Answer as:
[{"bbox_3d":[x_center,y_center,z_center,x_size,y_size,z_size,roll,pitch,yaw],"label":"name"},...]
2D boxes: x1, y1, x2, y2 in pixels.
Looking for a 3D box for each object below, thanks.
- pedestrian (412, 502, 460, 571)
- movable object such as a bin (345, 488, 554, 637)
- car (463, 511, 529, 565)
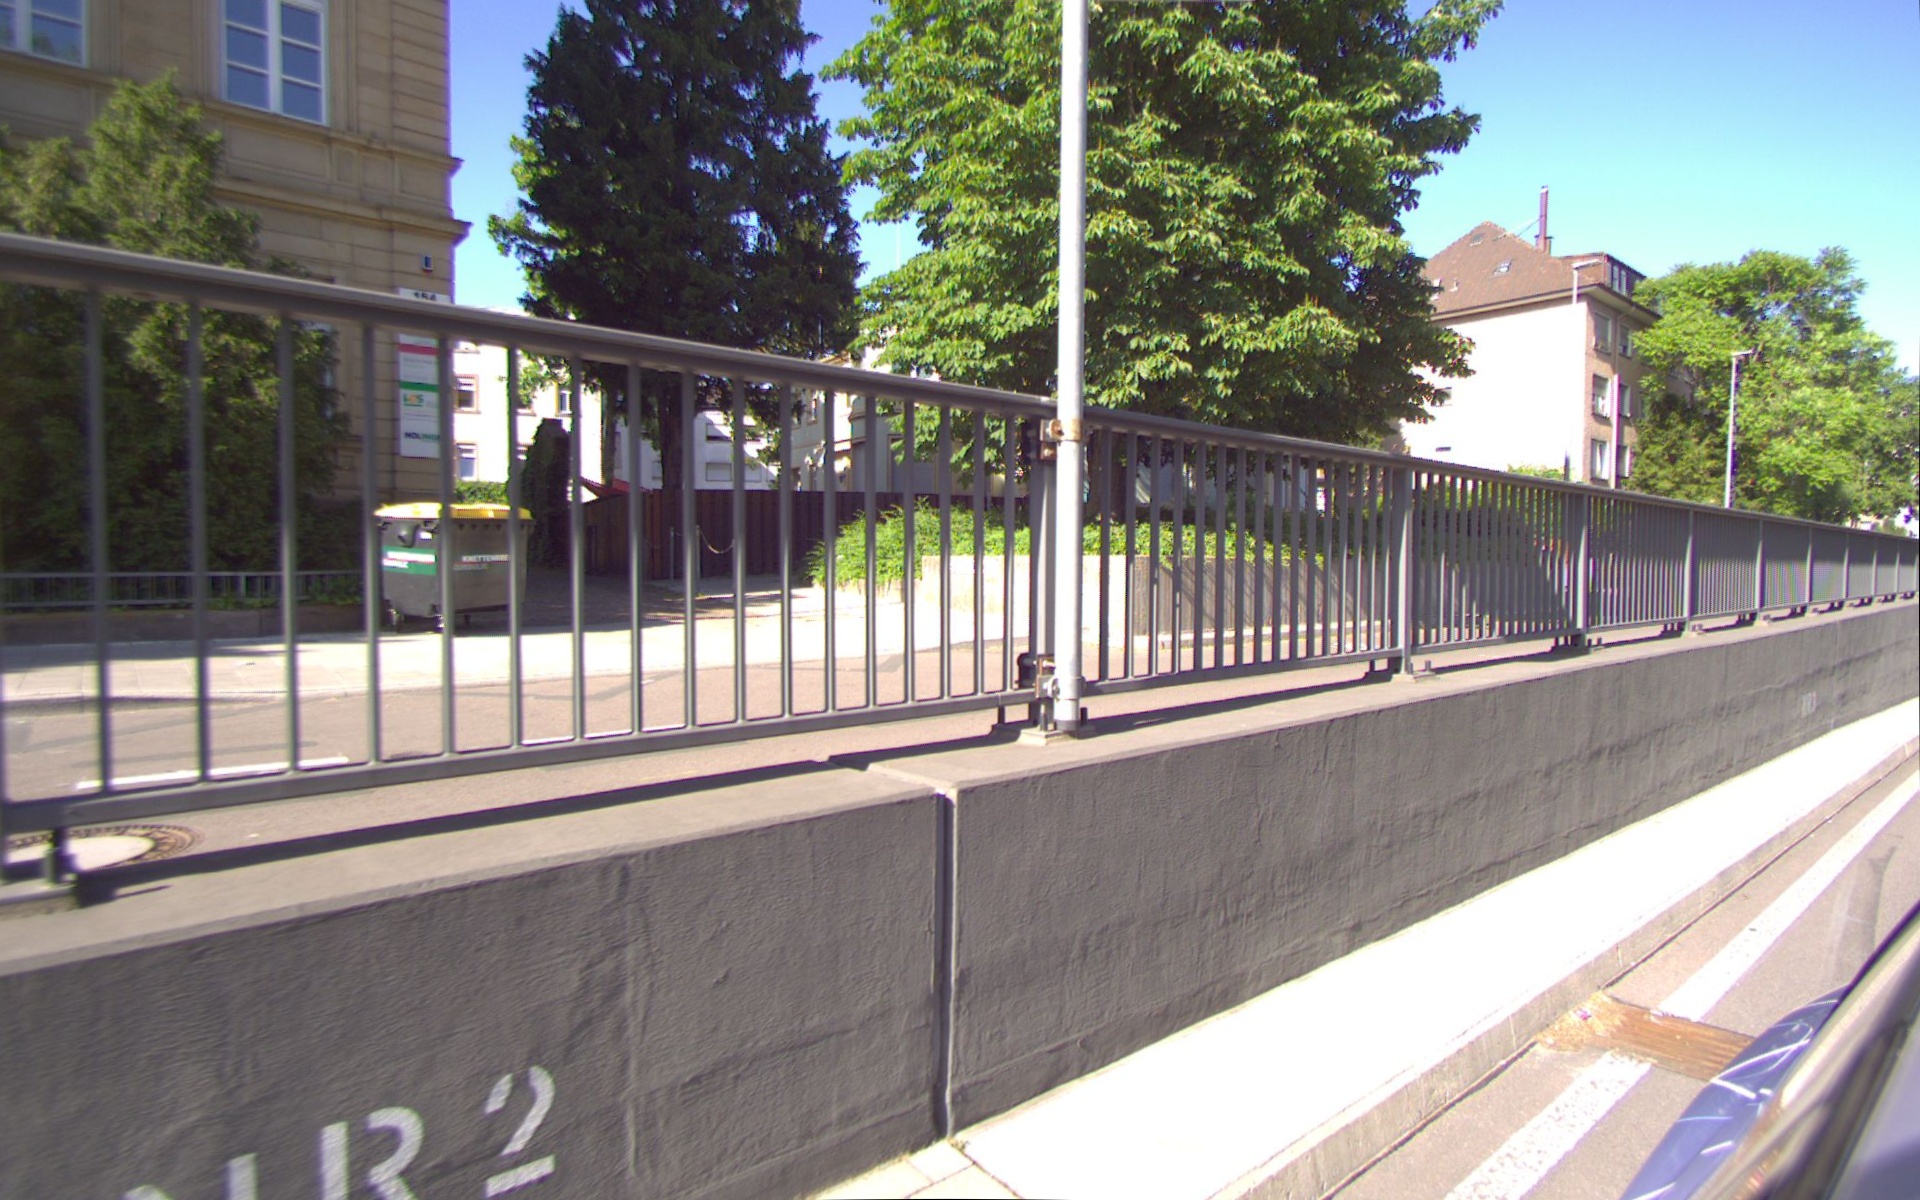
[{"bbox_3d":[-11.619,-1.385,22.437,0.797,1.499,0.854,-1,1,-37],"label":"pedestrian"},{"bbox_3d":[-5.354,-0.412,10.649,1.440,1.340,1.394,8,5,32],"label":"movable object such as a bin"},{"bbox_3d":[-18.175,-2.397,39.804,1.806,1.906,3.923,-1,0,-17],"label":"car"}]
